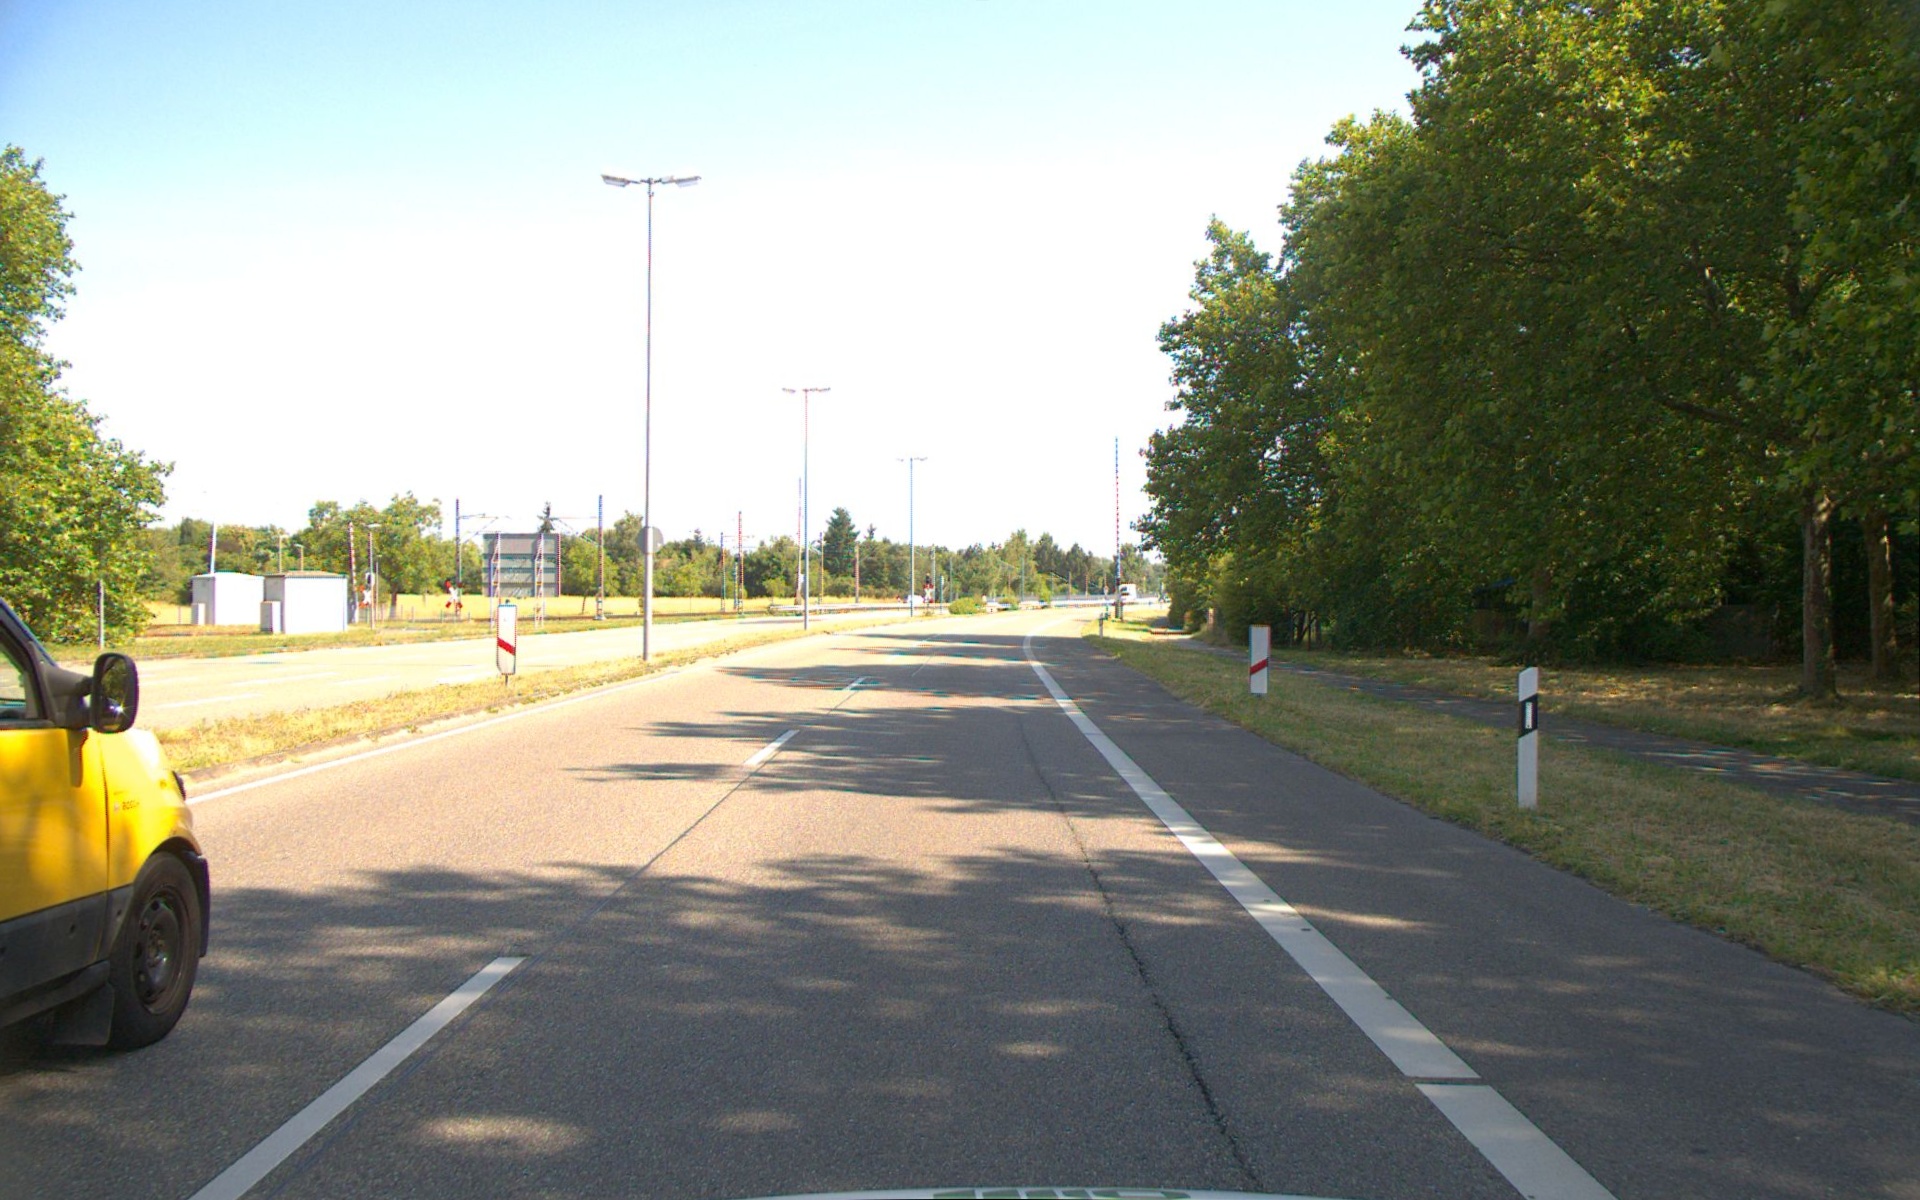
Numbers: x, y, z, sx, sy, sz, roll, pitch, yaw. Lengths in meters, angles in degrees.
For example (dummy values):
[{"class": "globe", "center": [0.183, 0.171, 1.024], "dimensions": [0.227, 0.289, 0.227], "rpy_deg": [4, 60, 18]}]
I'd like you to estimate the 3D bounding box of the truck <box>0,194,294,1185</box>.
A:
[{"class": "truck", "center": [-3.412, 0.223, 3.182], "dimensions": [2.069, 2.500, 5.914], "rpy_deg": [1, 0, -3]}]
